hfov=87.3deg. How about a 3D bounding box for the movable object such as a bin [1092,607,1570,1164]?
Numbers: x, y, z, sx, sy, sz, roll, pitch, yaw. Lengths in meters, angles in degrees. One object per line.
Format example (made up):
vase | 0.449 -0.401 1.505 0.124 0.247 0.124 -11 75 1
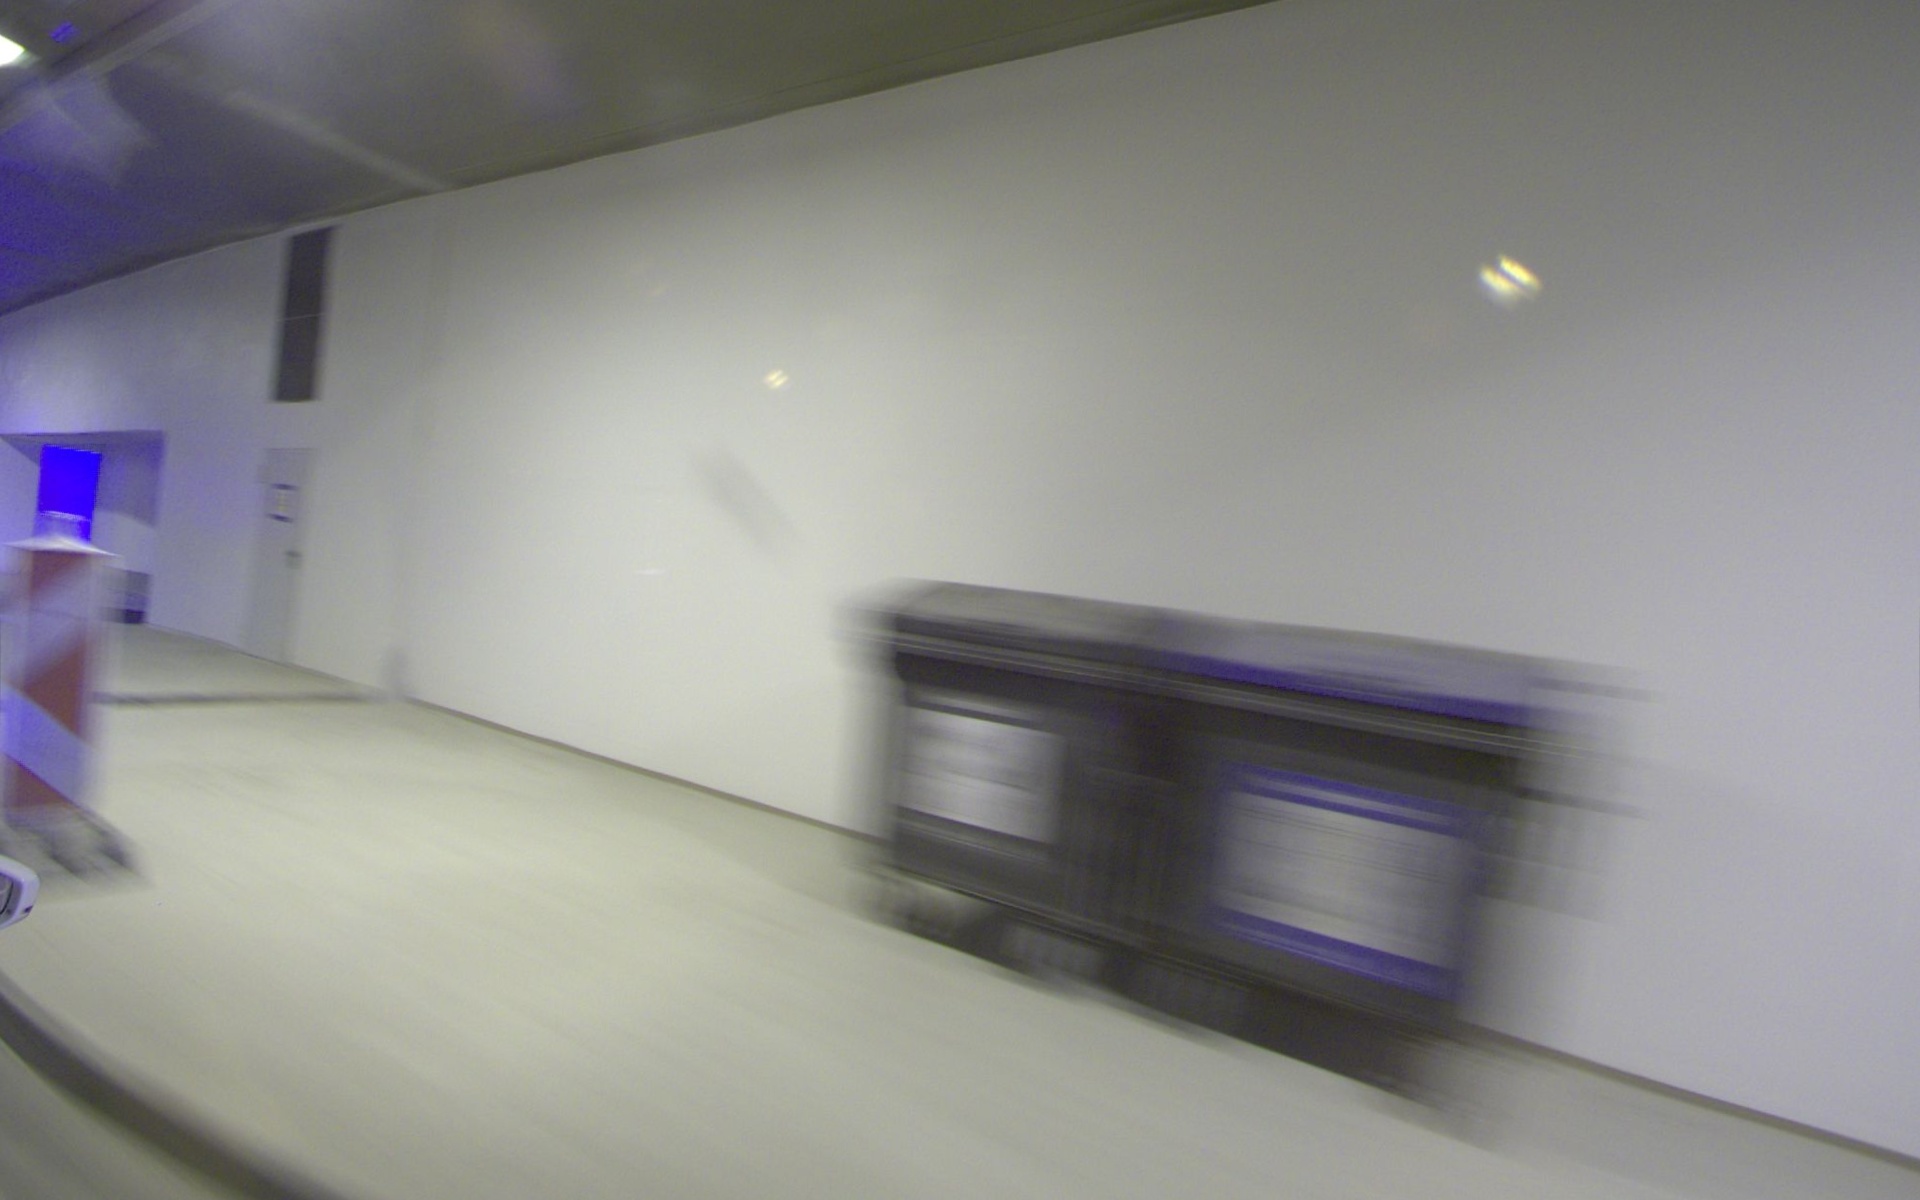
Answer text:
movable object such as a bin | 1.380 0.860 3.659 1.300 1.462 1.099 6 -1 32

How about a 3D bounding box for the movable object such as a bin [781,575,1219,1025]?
movable object such as a bin | 0.202 0.734 4.319 1.341 1.462 1.147 6 -1 32
